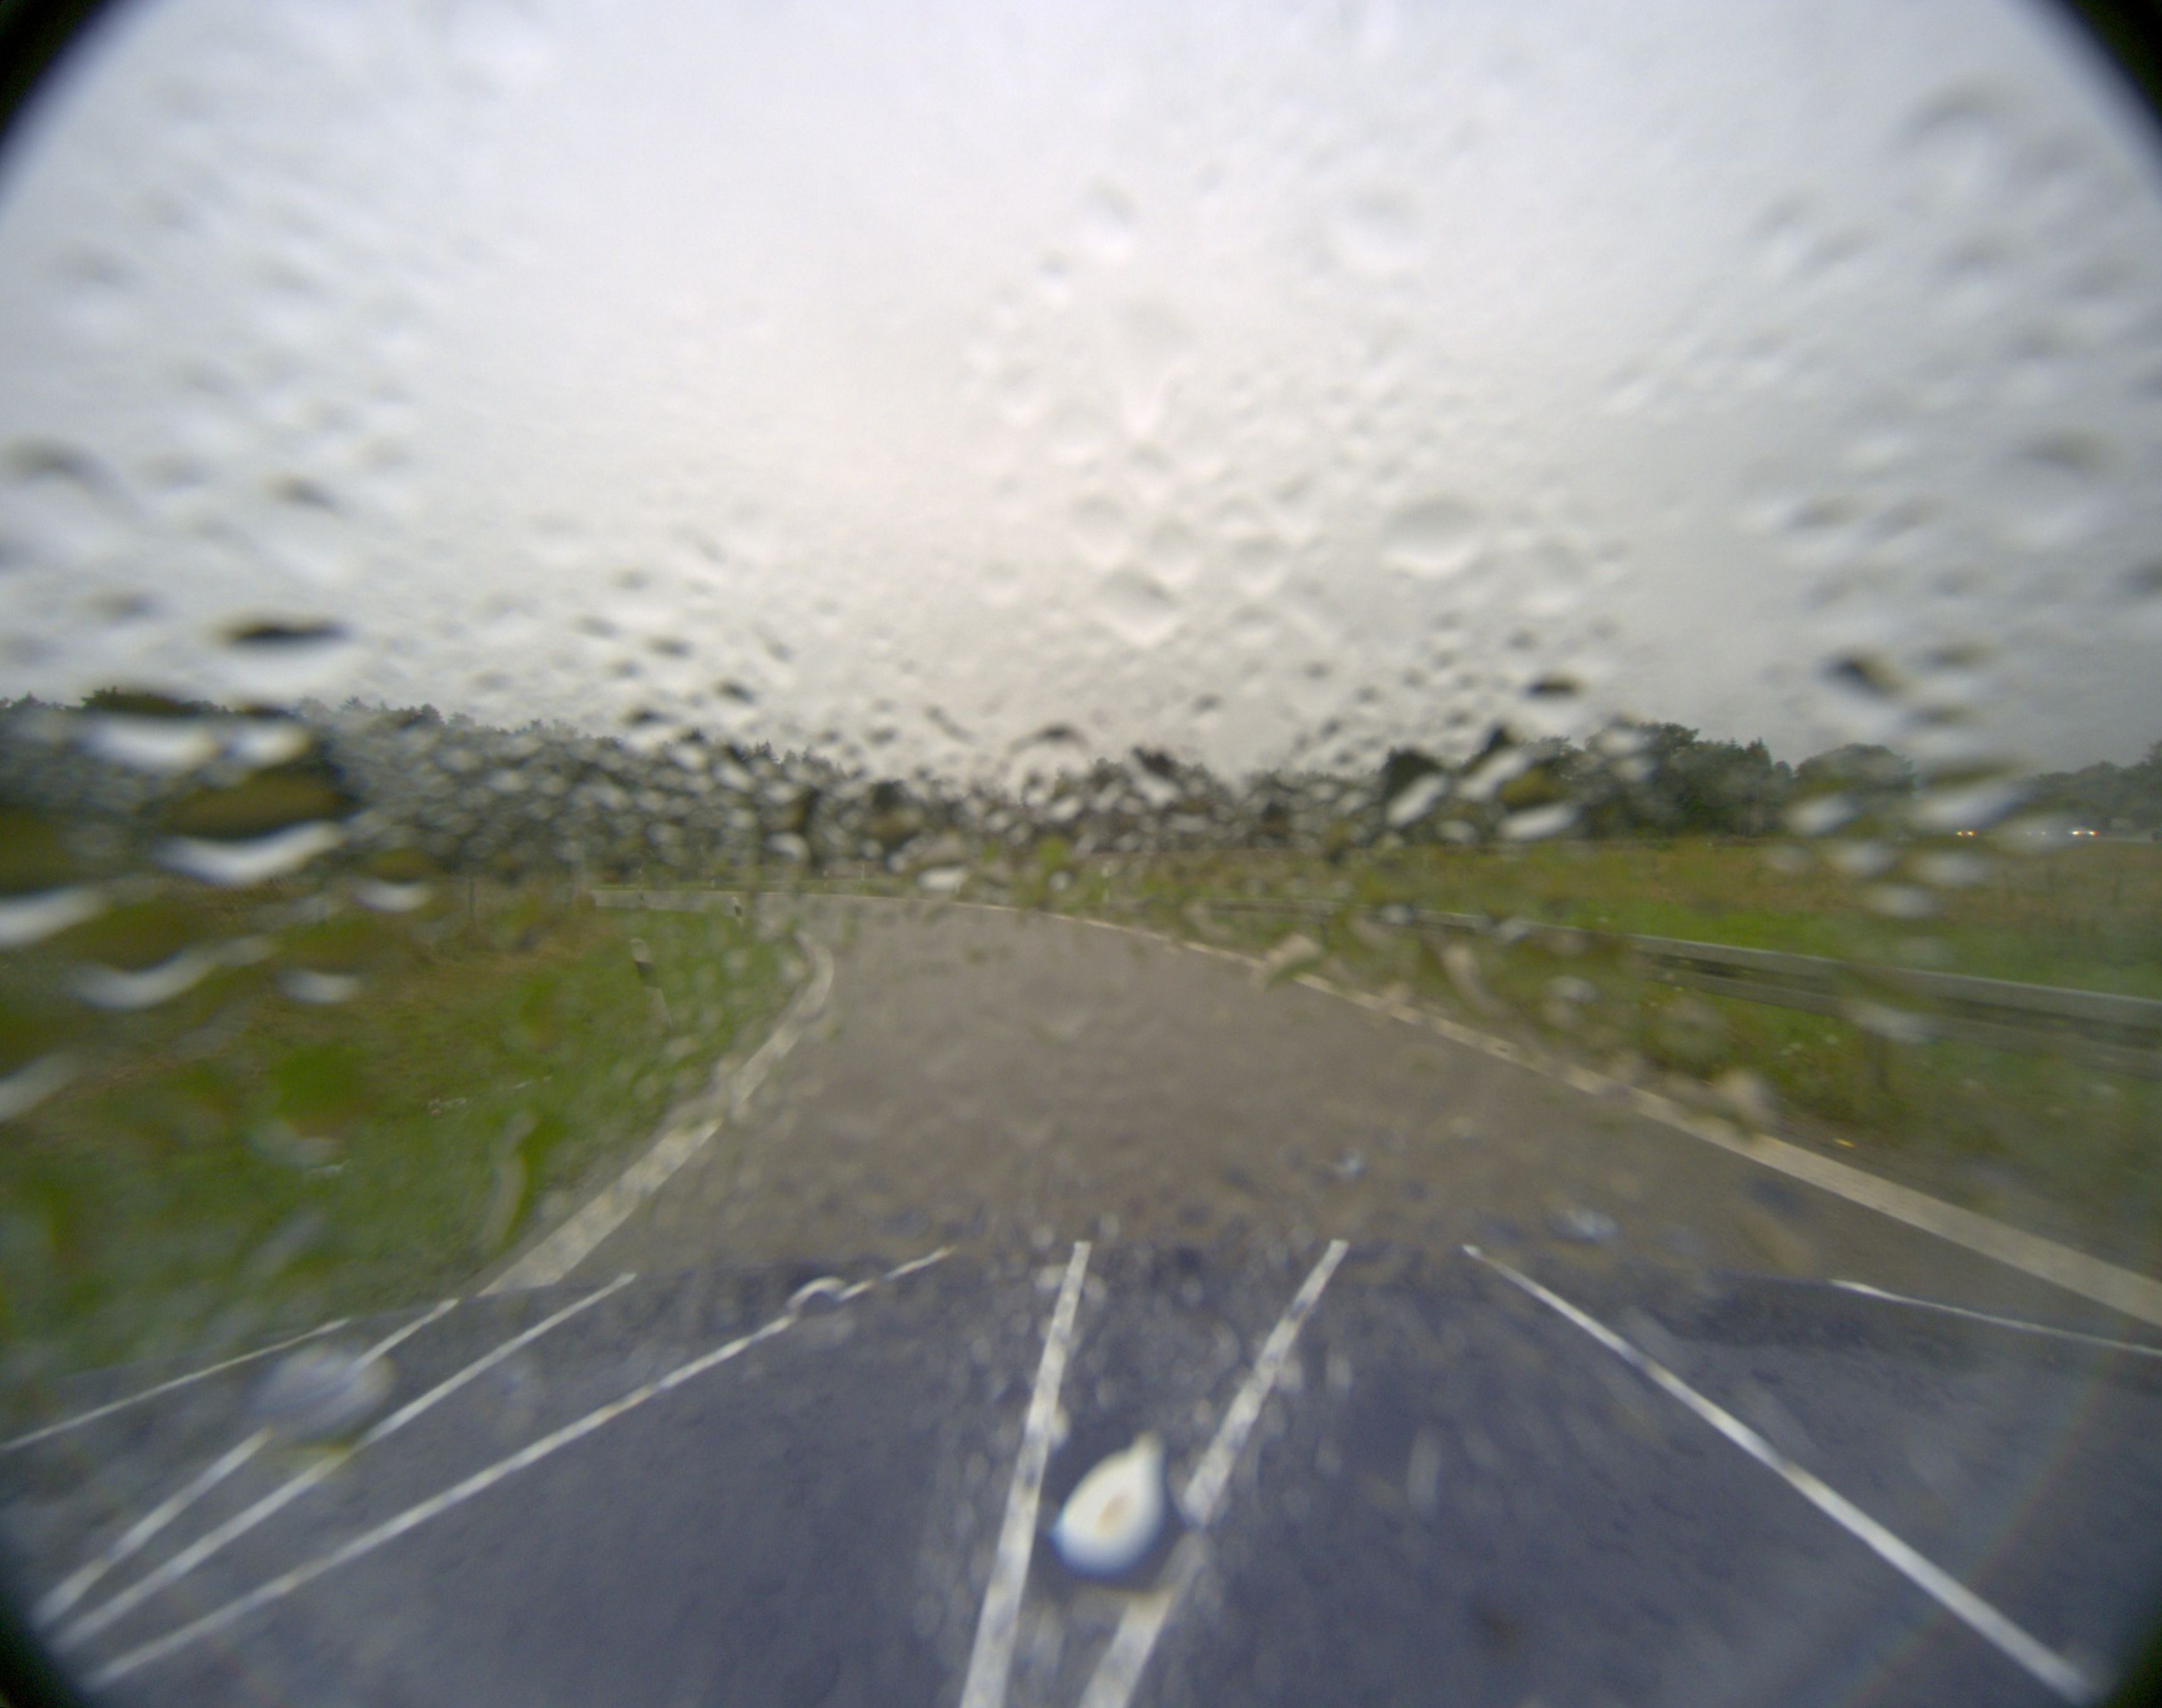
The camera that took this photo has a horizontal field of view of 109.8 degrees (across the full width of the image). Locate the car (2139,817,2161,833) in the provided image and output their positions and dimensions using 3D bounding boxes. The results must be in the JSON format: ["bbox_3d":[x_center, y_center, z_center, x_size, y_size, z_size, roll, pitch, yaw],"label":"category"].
[{"bbox_3d":[102.269,-2.728,71.718,4.604,1.446,2.094,-2,2,-44],"label":"car"}]
